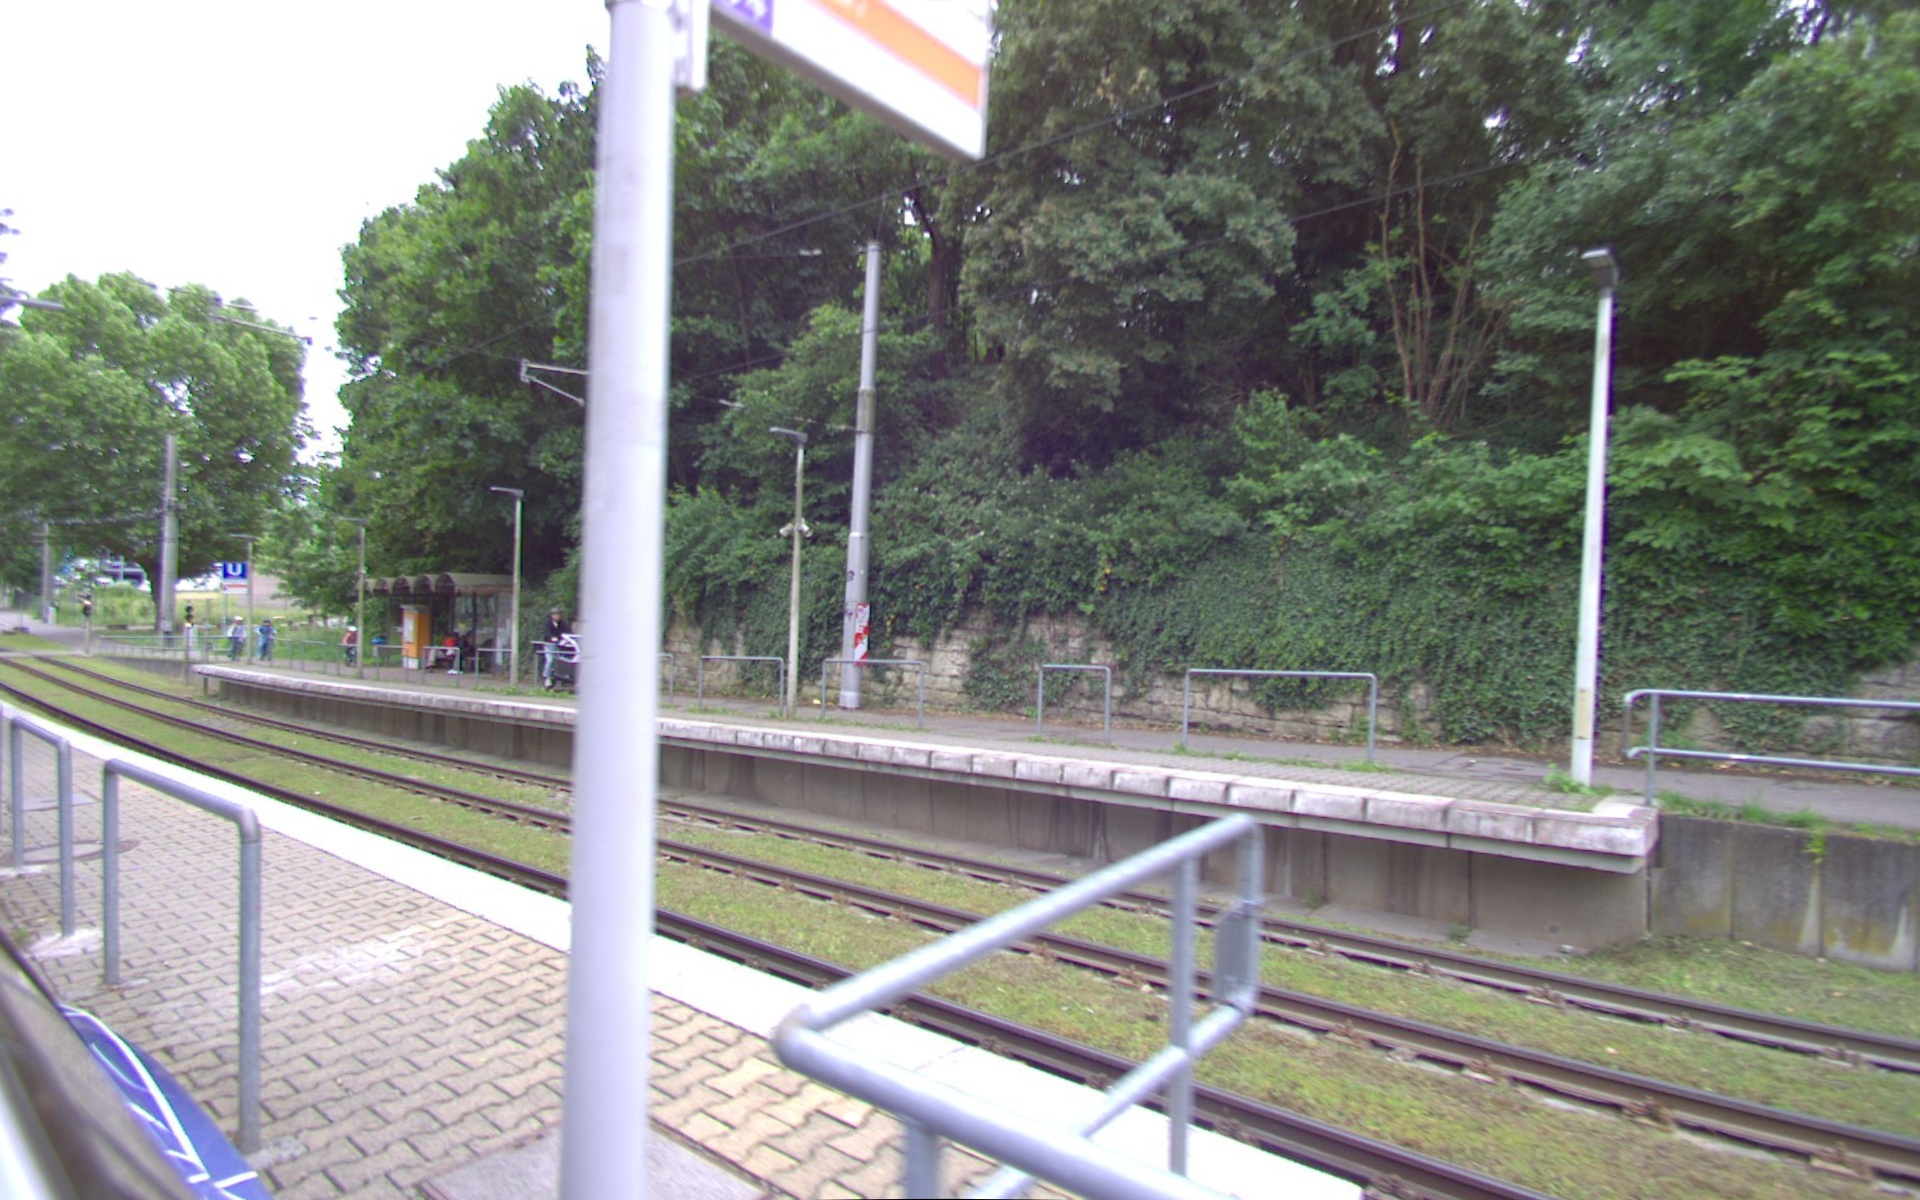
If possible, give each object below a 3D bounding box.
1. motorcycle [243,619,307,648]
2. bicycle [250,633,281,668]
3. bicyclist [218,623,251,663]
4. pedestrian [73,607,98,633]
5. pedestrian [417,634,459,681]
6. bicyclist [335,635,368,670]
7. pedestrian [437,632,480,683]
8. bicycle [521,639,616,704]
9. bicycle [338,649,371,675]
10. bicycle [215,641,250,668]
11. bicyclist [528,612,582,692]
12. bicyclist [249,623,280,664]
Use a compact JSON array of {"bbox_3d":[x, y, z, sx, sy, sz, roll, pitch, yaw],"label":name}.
[{"bbox_3d":[-39.551,1.916,58.516,1.247,1.564,3.046,0,0,13],"label":"motorcycle"},{"bbox_3d":[-25.008,1.812,36.431,1.939,1.197,0.458,-2,-2,41],"label":"bicycle"},{"bbox_3d":[-26.200,1.553,36.547,0.906,1.442,0.738,-3,-2,35],"label":"bicyclist"},{"bbox_3d":[-59.784,1.347,69.172,1.100,1.747,0.696,0,0,-13],"label":"pedestrian"},{"bbox_3d":[-15.260,1.667,29.589,0.772,1.333,0.813,0,0,35],"label":"pedestrian"},{"bbox_3d":[-19.258,1.658,32.038,0.744,1.061,0.682,-2,-2,41],"label":"bicyclist"},{"bbox_3d":[-14.312,1.630,28.886,0.772,1.385,0.813,0,0,35],"label":"pedestrian"},{"bbox_3d":[-8.232,1.462,21.206,2.868,1.249,0.742,-2,-1,45],"label":"bicycle"},{"bbox_3d":[-19.209,1.967,32.085,1.564,0.787,0.445,-2,-2,42],"label":"bicycle"},{"bbox_3d":[-26.190,1.965,36.427,1.840,0.932,0.473,-3,-2,36],"label":"bicycle"},{"bbox_3d":[-8.640,1.101,21.582,1.033,1.641,0.696,-2,-1,44],"label":"bicyclist"},{"bbox_3d":[-25.032,1.570,36.409,0.839,1.454,0.722,-2,-2,39],"label":"bicyclist"}]
